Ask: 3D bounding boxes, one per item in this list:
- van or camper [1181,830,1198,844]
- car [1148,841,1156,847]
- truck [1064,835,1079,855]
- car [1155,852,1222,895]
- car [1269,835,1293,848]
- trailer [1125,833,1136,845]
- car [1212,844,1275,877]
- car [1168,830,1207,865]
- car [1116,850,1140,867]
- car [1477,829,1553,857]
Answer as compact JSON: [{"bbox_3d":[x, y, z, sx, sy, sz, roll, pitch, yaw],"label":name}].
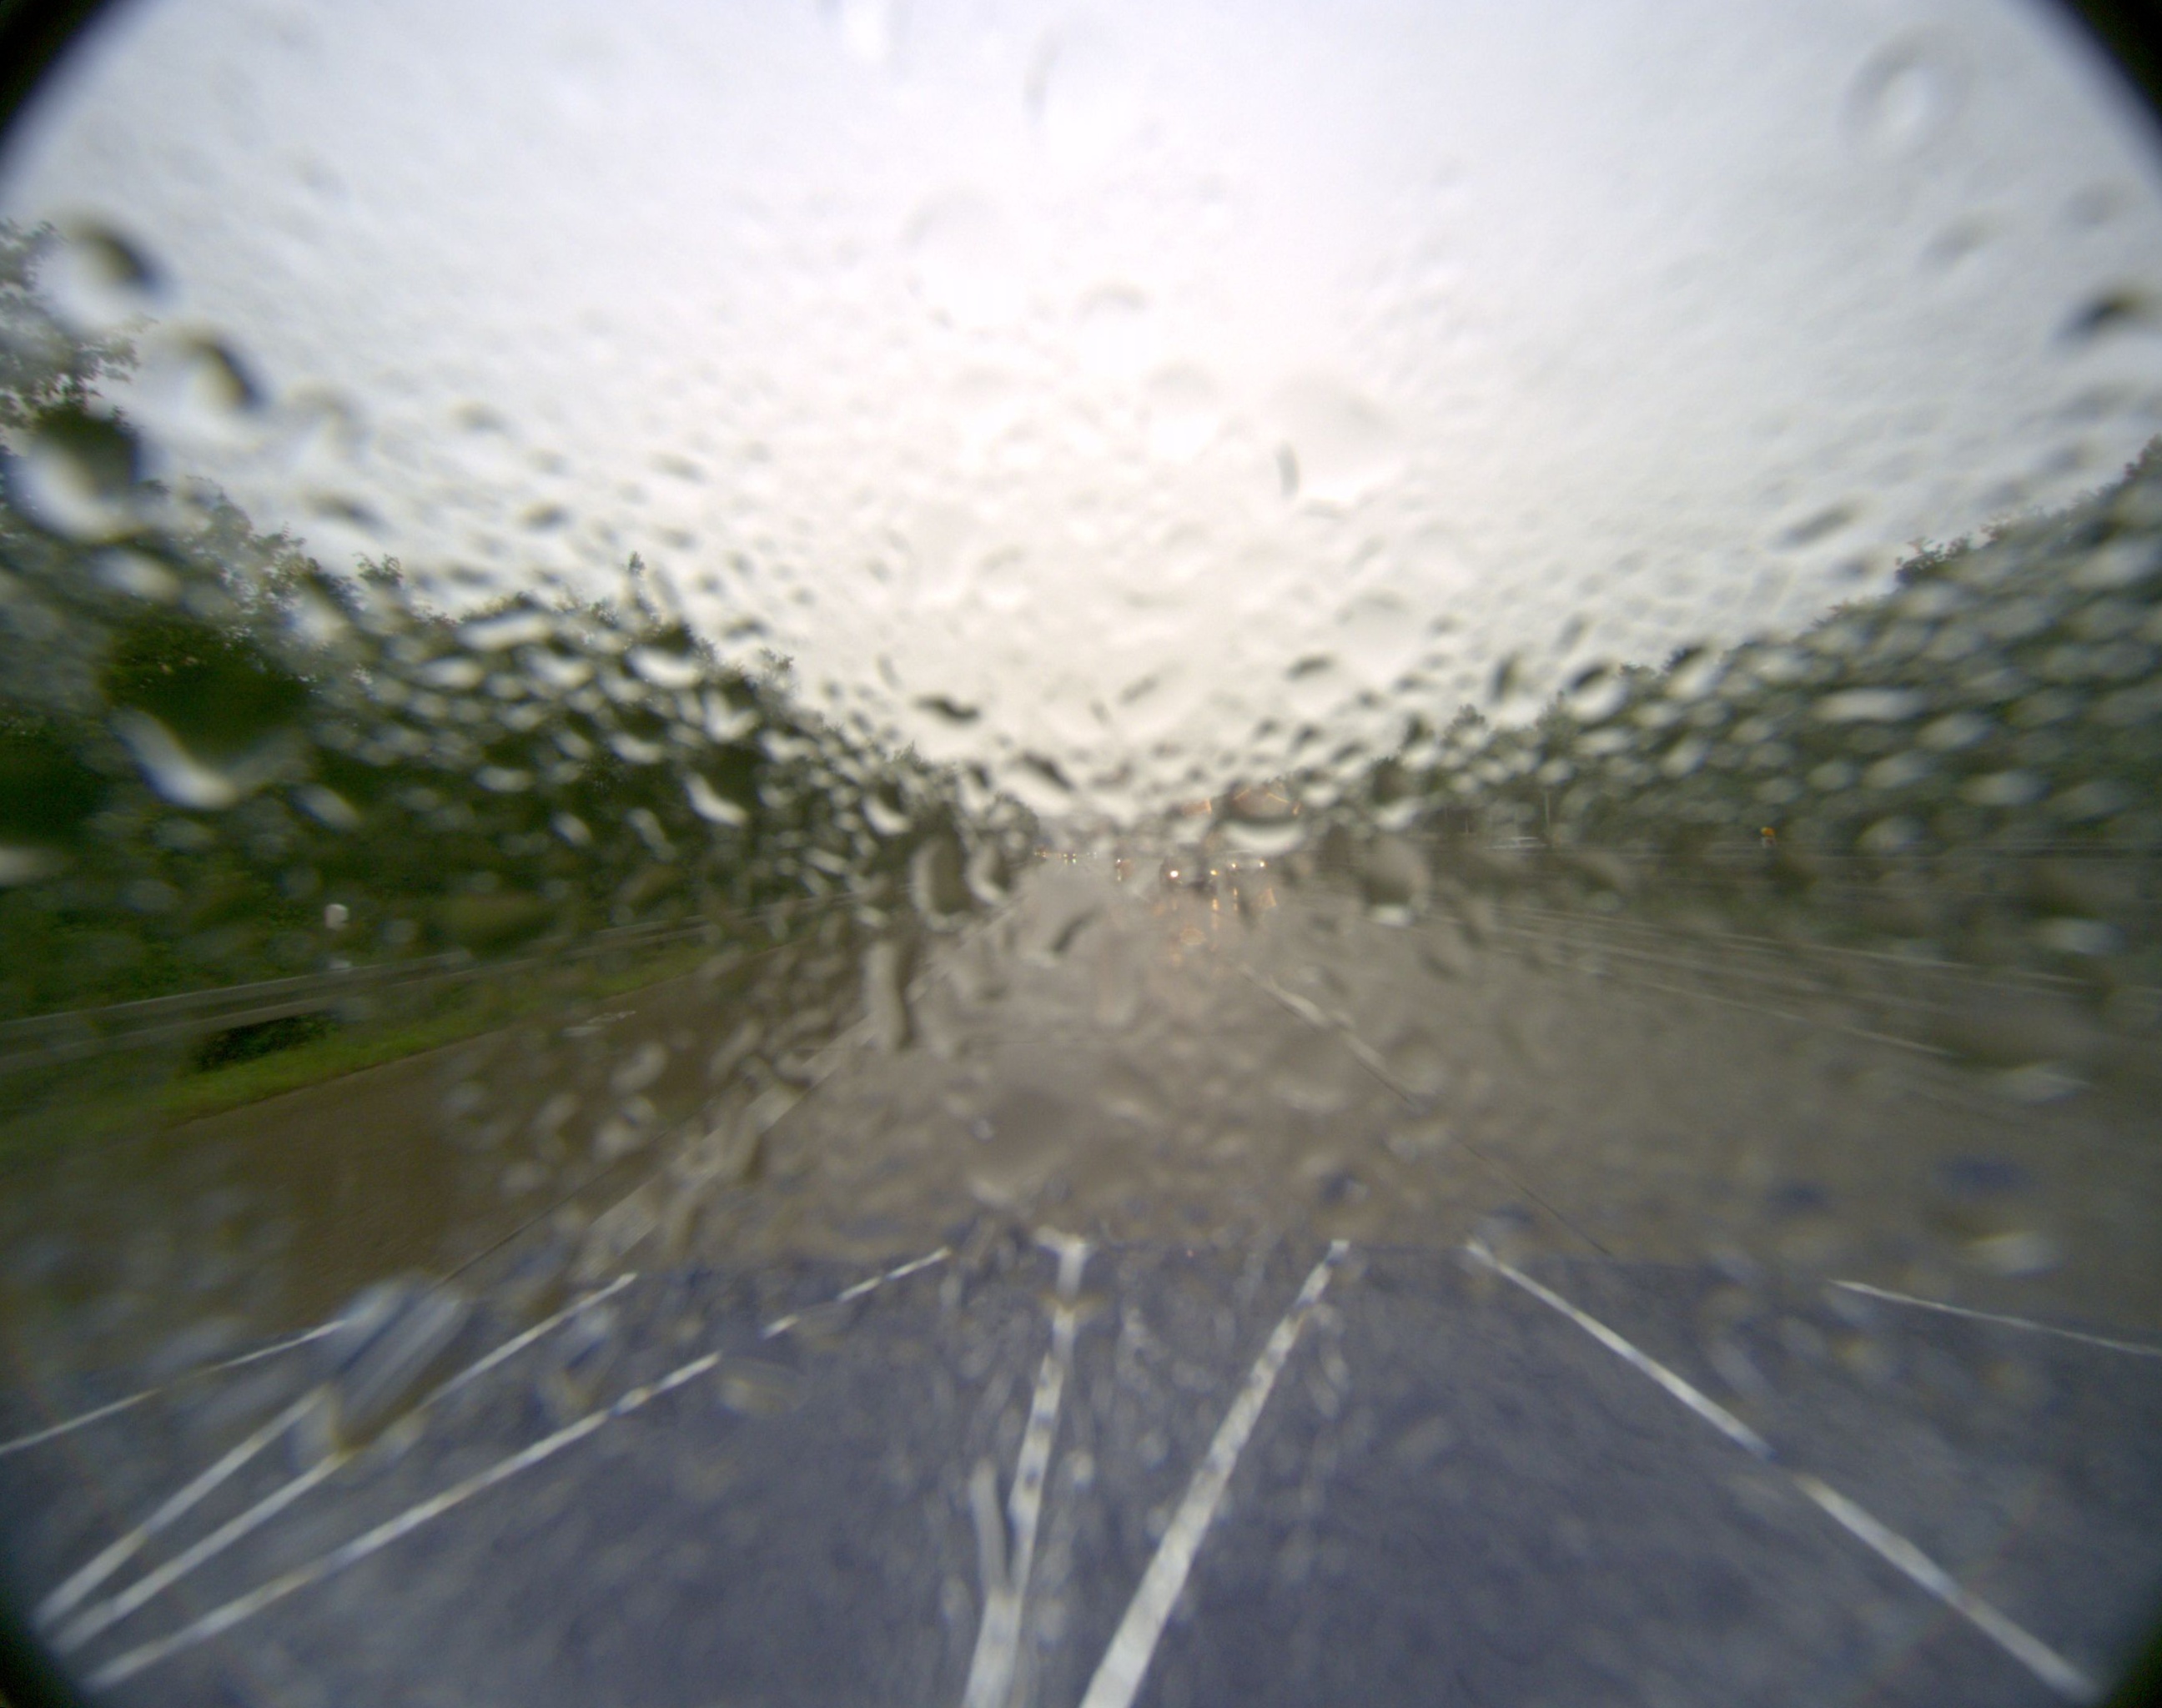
[{"bbox_3d":[23.098,-3.631,162.092,2.562,2.702,7.497,-3,1,0],"label":"van or camper"},{"bbox_3d":[19.385,-2.719,206.621,1.820,1.587,3.999,-5,1,2],"label":"car"},{"bbox_3d":[-2.083,-1.944,173.935,3.058,3.995,10.044,-2,-1,1],"label":"truck"},{"bbox_3d":[4.083,0.686,29.426,1.934,1.426,4.517,-2,1,0],"label":"car"},{"bbox_3d":[24.649,-1.527,93.825,1.671,1.426,4.517,-3,1,0],"label":"car"},{"bbox_3d":[17.176,-5.309,264.919,2.774,3.779,13.775,-5,1,0],"label":"trailer"},{"bbox_3d":[7.695,0.264,36.398,1.934,1.426,4.517,-2,1,-1],"label":"car"},{"bbox_3d":[8.435,-0.527,60.650,2.046,2.616,6.402,-2,1,-1],"label":"car"},{"bbox_3d":[4.364,0.421,71.547,1.934,1.426,4.517,-2,1,0],"label":"car"},{"bbox_3d":[24.341,-0.630,42.824,1.671,1.426,4.517,-3,1,0],"label":"car"}]
